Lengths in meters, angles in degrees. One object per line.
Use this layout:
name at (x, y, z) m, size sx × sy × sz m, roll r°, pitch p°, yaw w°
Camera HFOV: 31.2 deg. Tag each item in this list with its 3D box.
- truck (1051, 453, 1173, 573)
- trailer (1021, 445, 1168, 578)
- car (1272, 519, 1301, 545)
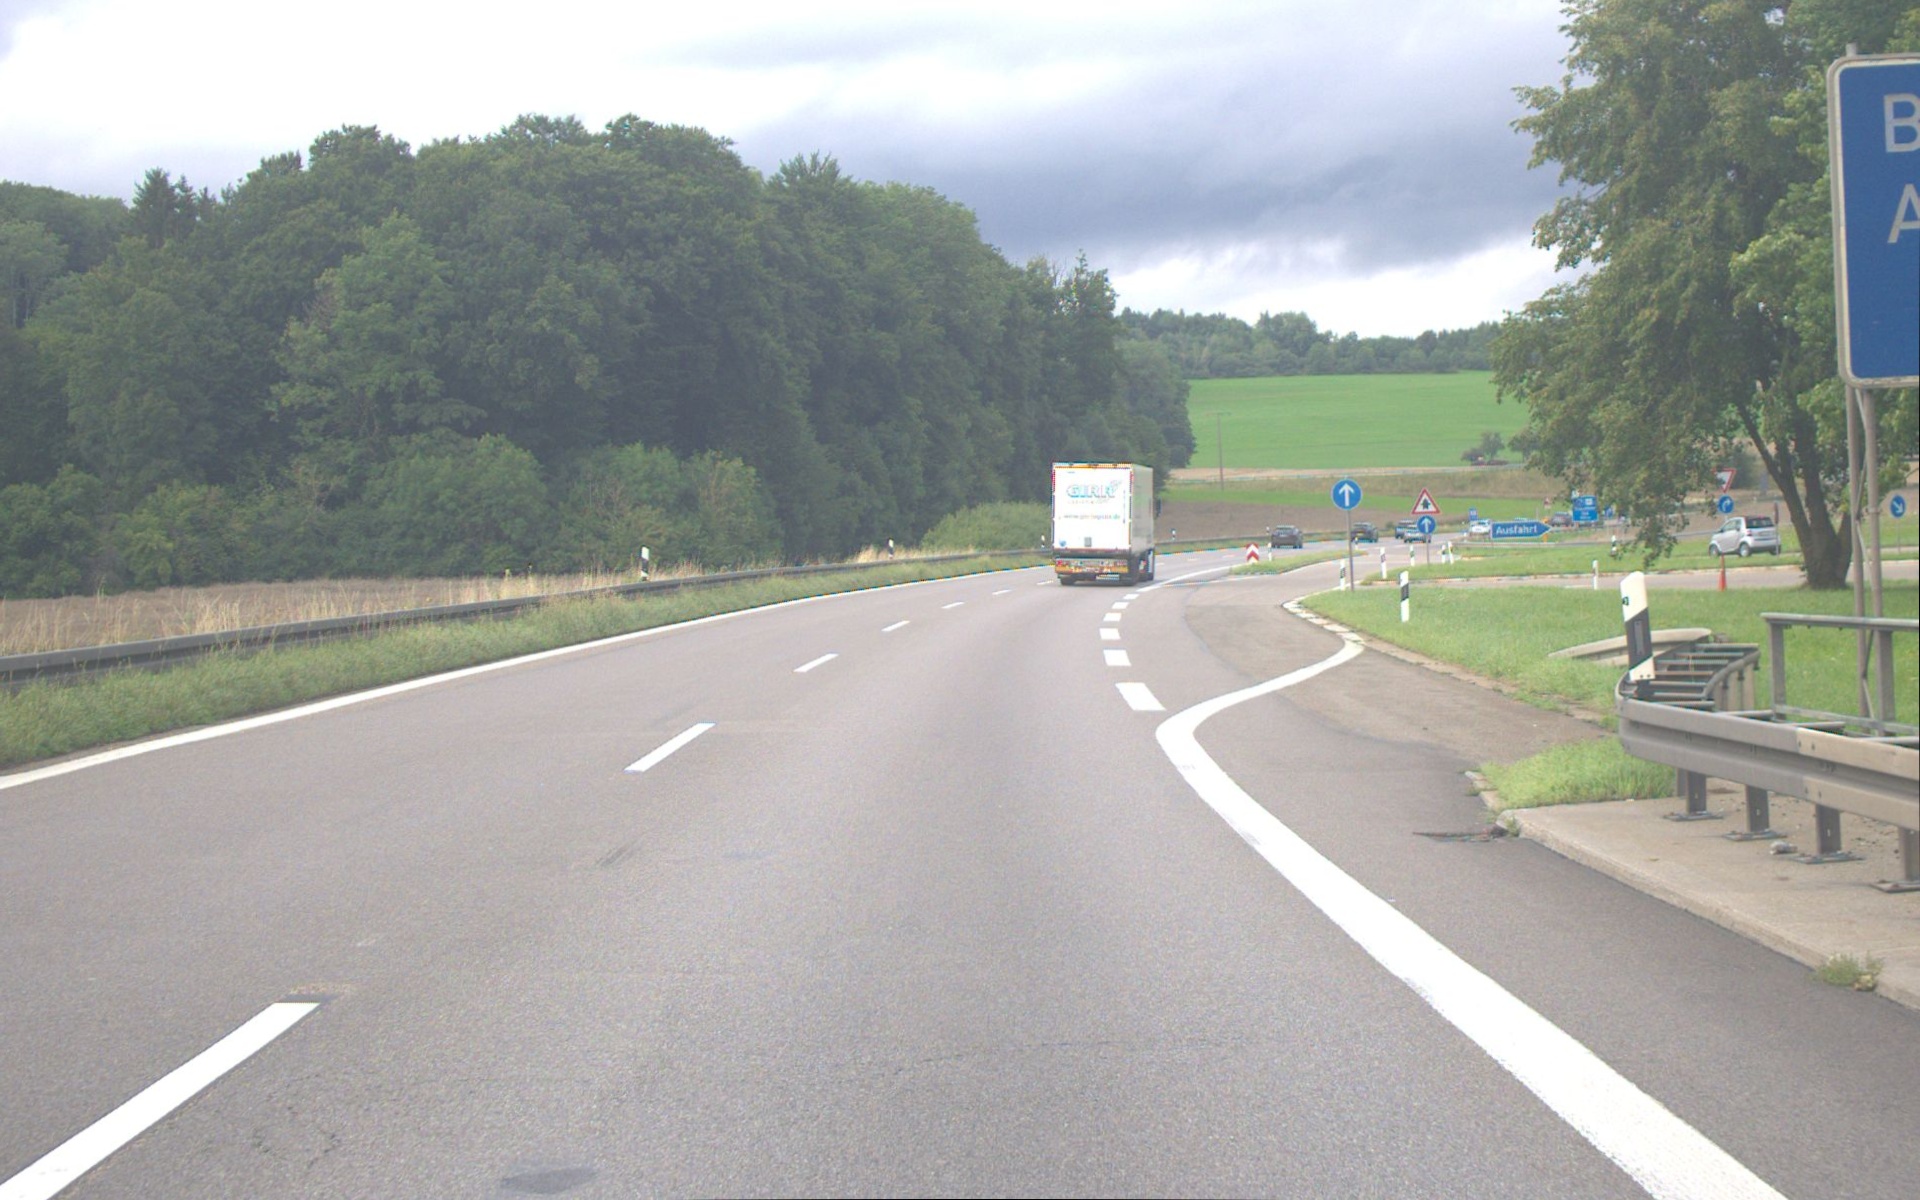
truck at (5.516, -3.123, 123.151) m, size 3.788 × 4.117 × 8.263 m, roll 1°, pitch 2°, yaw 6°
trailer at (4.696, -2.972, 116.136) m, size 3.806 × 4.160 × 14.805 m, roll 1°, pitch 1°, yaw 7°
car at (23.230, -4.845, 244.656) m, size 1.903 × 1.789 × 3.999 m, roll 0°, pitch 0°, yaw 8°
